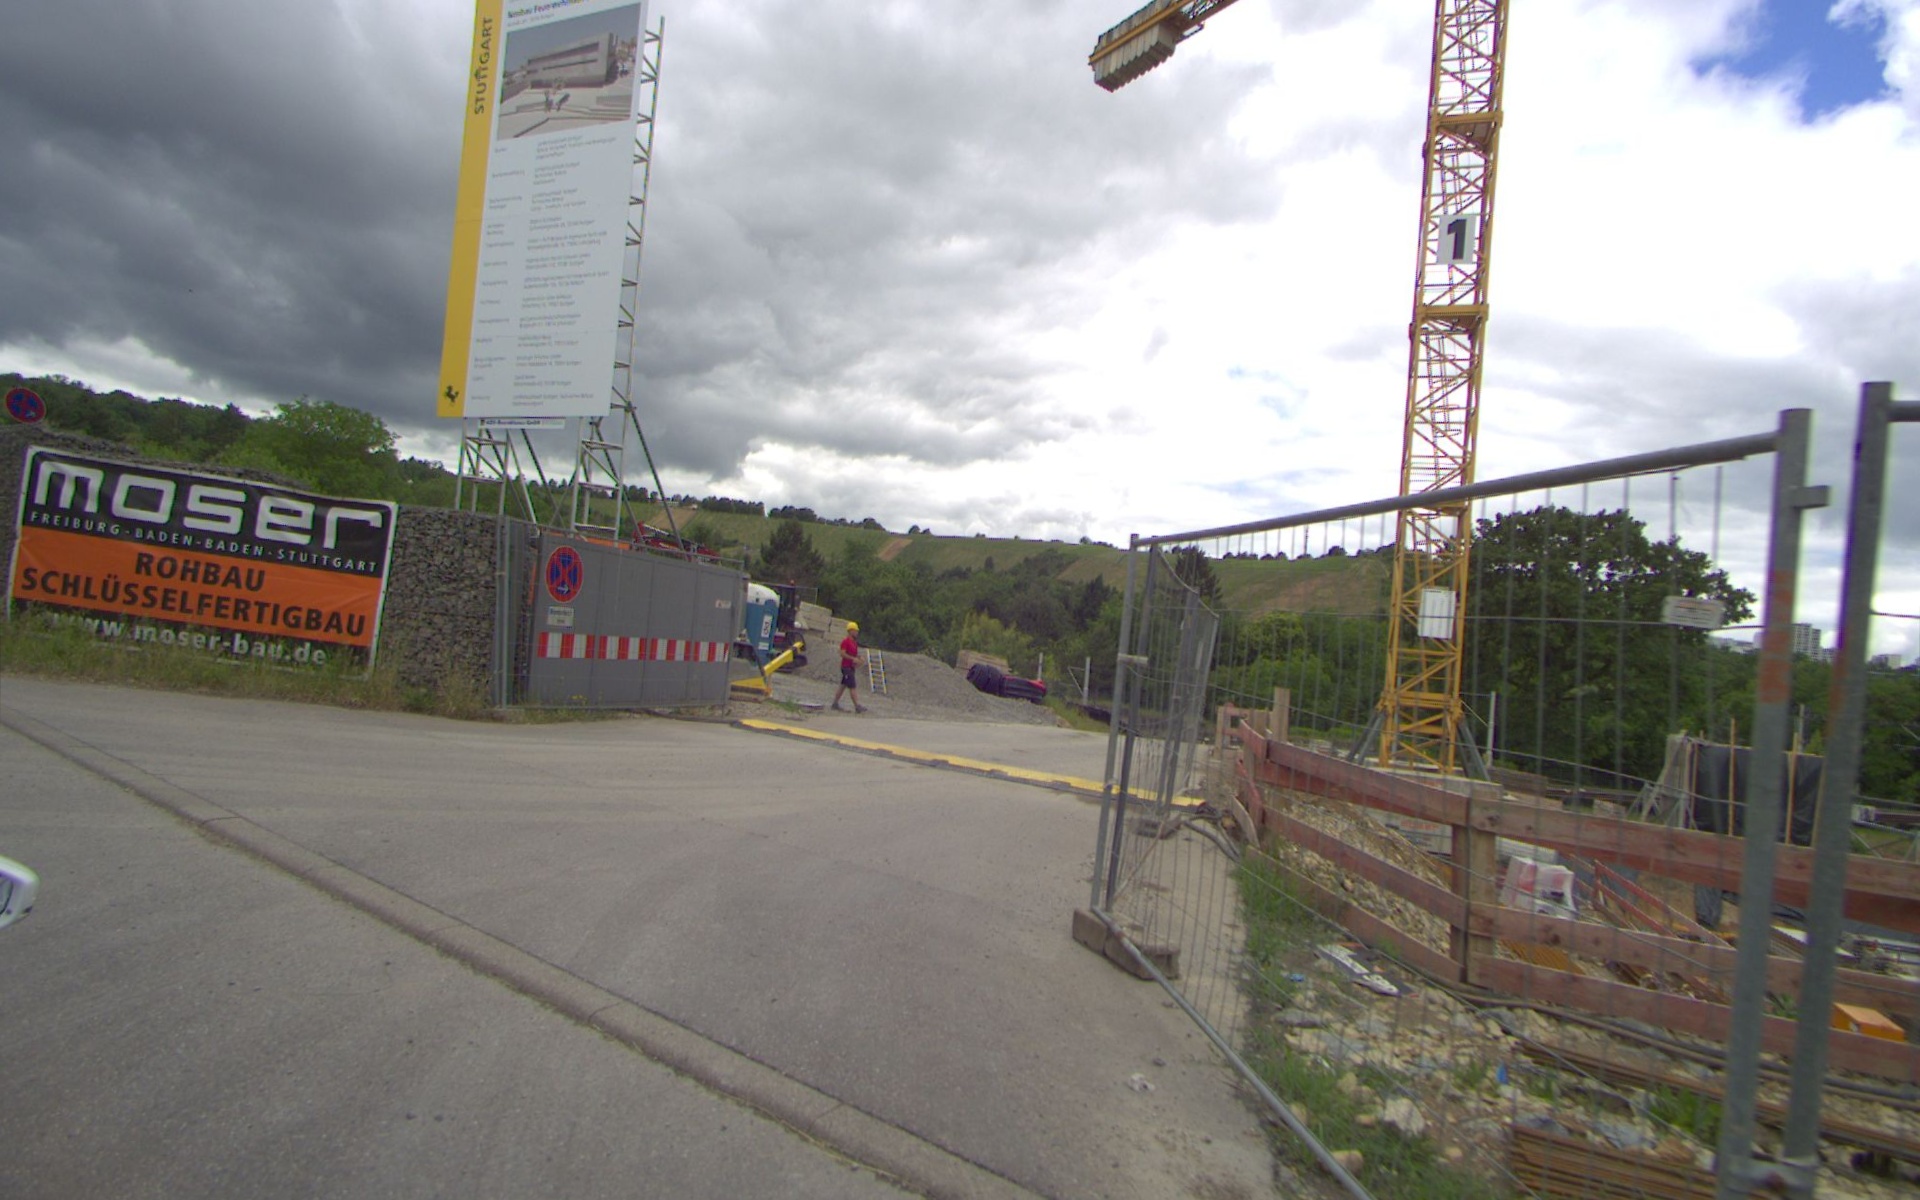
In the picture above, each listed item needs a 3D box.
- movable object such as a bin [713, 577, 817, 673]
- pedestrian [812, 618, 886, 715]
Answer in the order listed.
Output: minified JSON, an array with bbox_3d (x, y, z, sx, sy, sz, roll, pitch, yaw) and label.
[{"bbox_3d":[-6.194,0.798,31.782,2.703,2.614,1.994,8,-3,-18],"label":"movable object such as a bin"},{"bbox_3d":[-2.382,1.431,21.684,1.134,1.923,0.828,6,-2,21],"label":"pedestrian"}]
